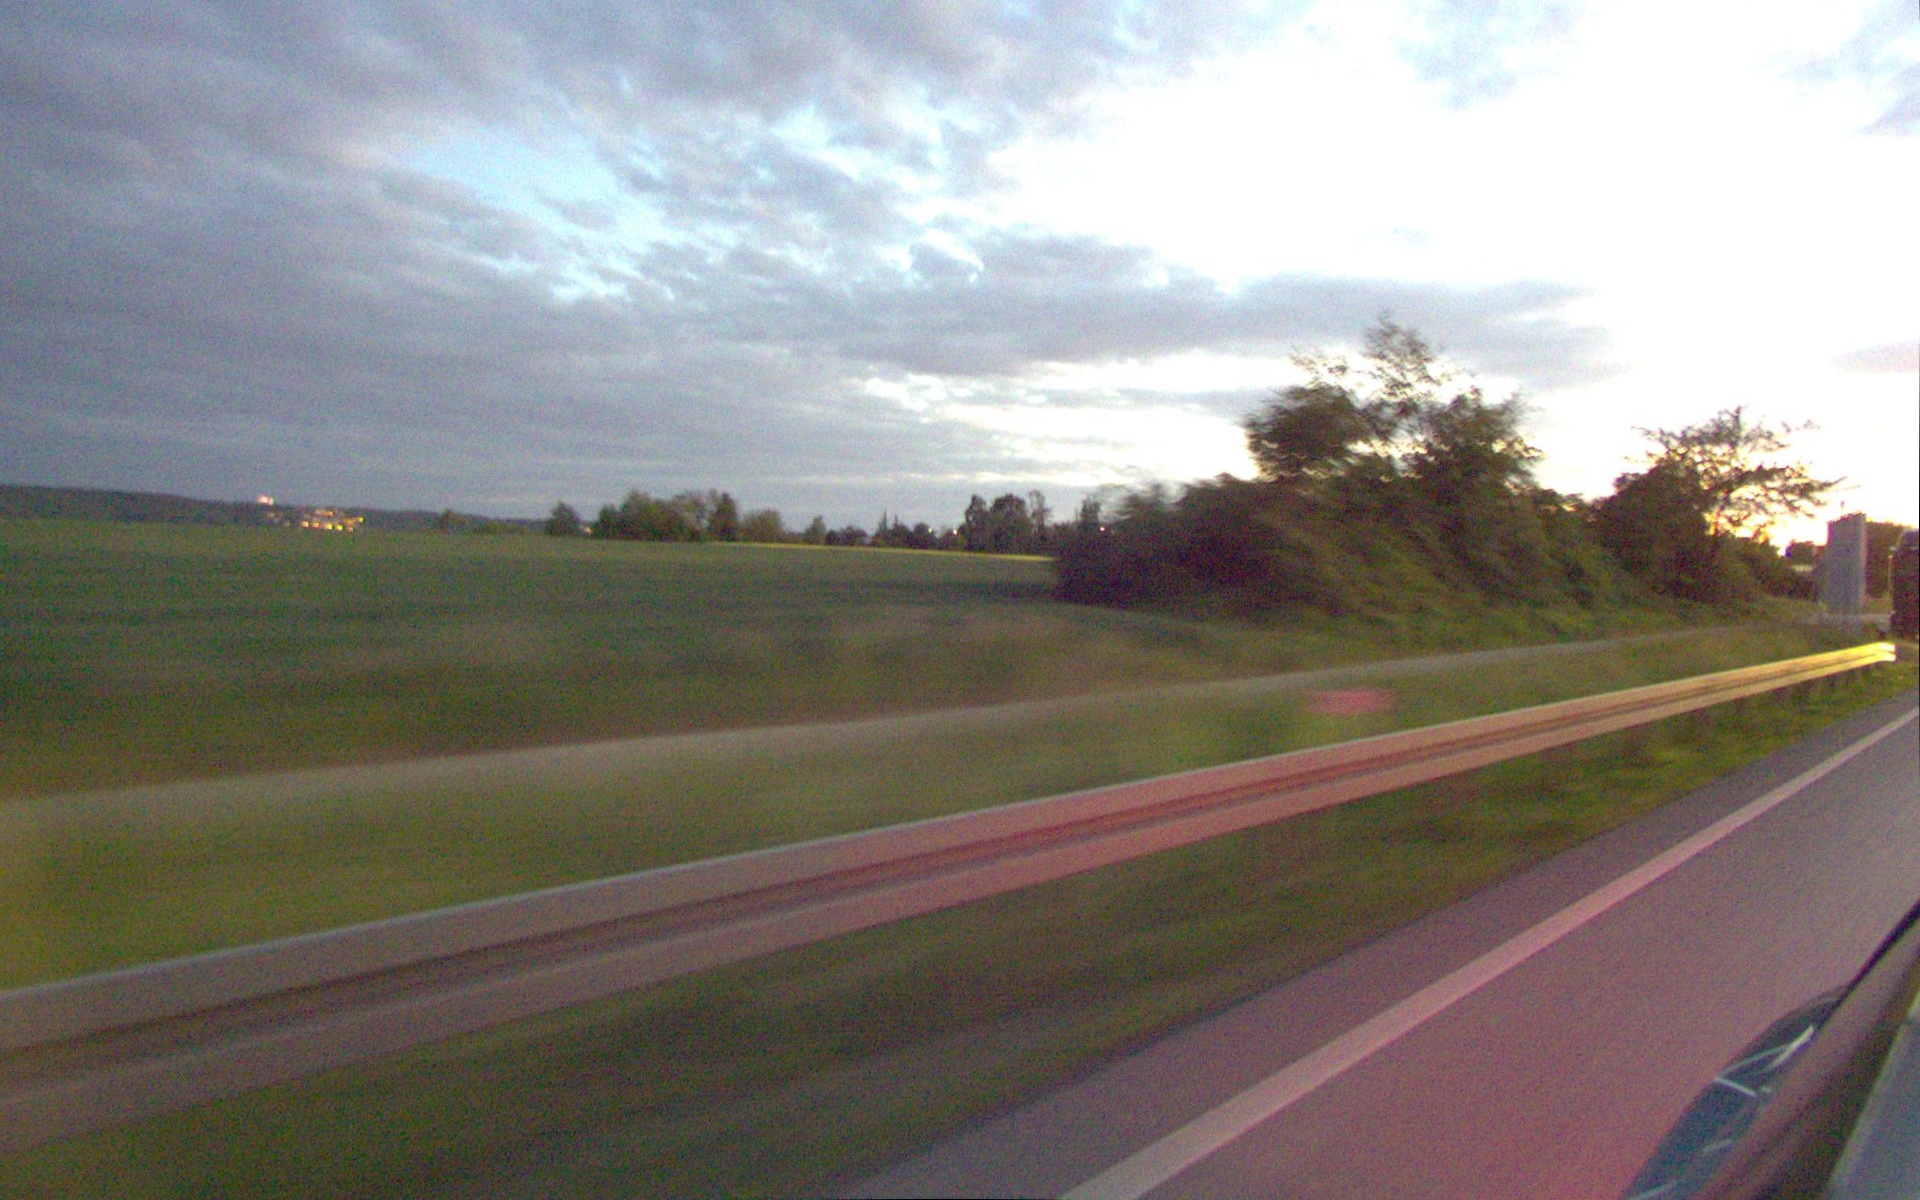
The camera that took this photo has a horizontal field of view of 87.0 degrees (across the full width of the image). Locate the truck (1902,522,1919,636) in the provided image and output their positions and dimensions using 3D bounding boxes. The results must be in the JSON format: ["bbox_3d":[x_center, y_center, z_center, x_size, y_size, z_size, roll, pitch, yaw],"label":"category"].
[{"bbox_3d":[35.017,-0.742,35.285,5.400,3.847,2.490,-1,0,-39],"label":"truck"}]
